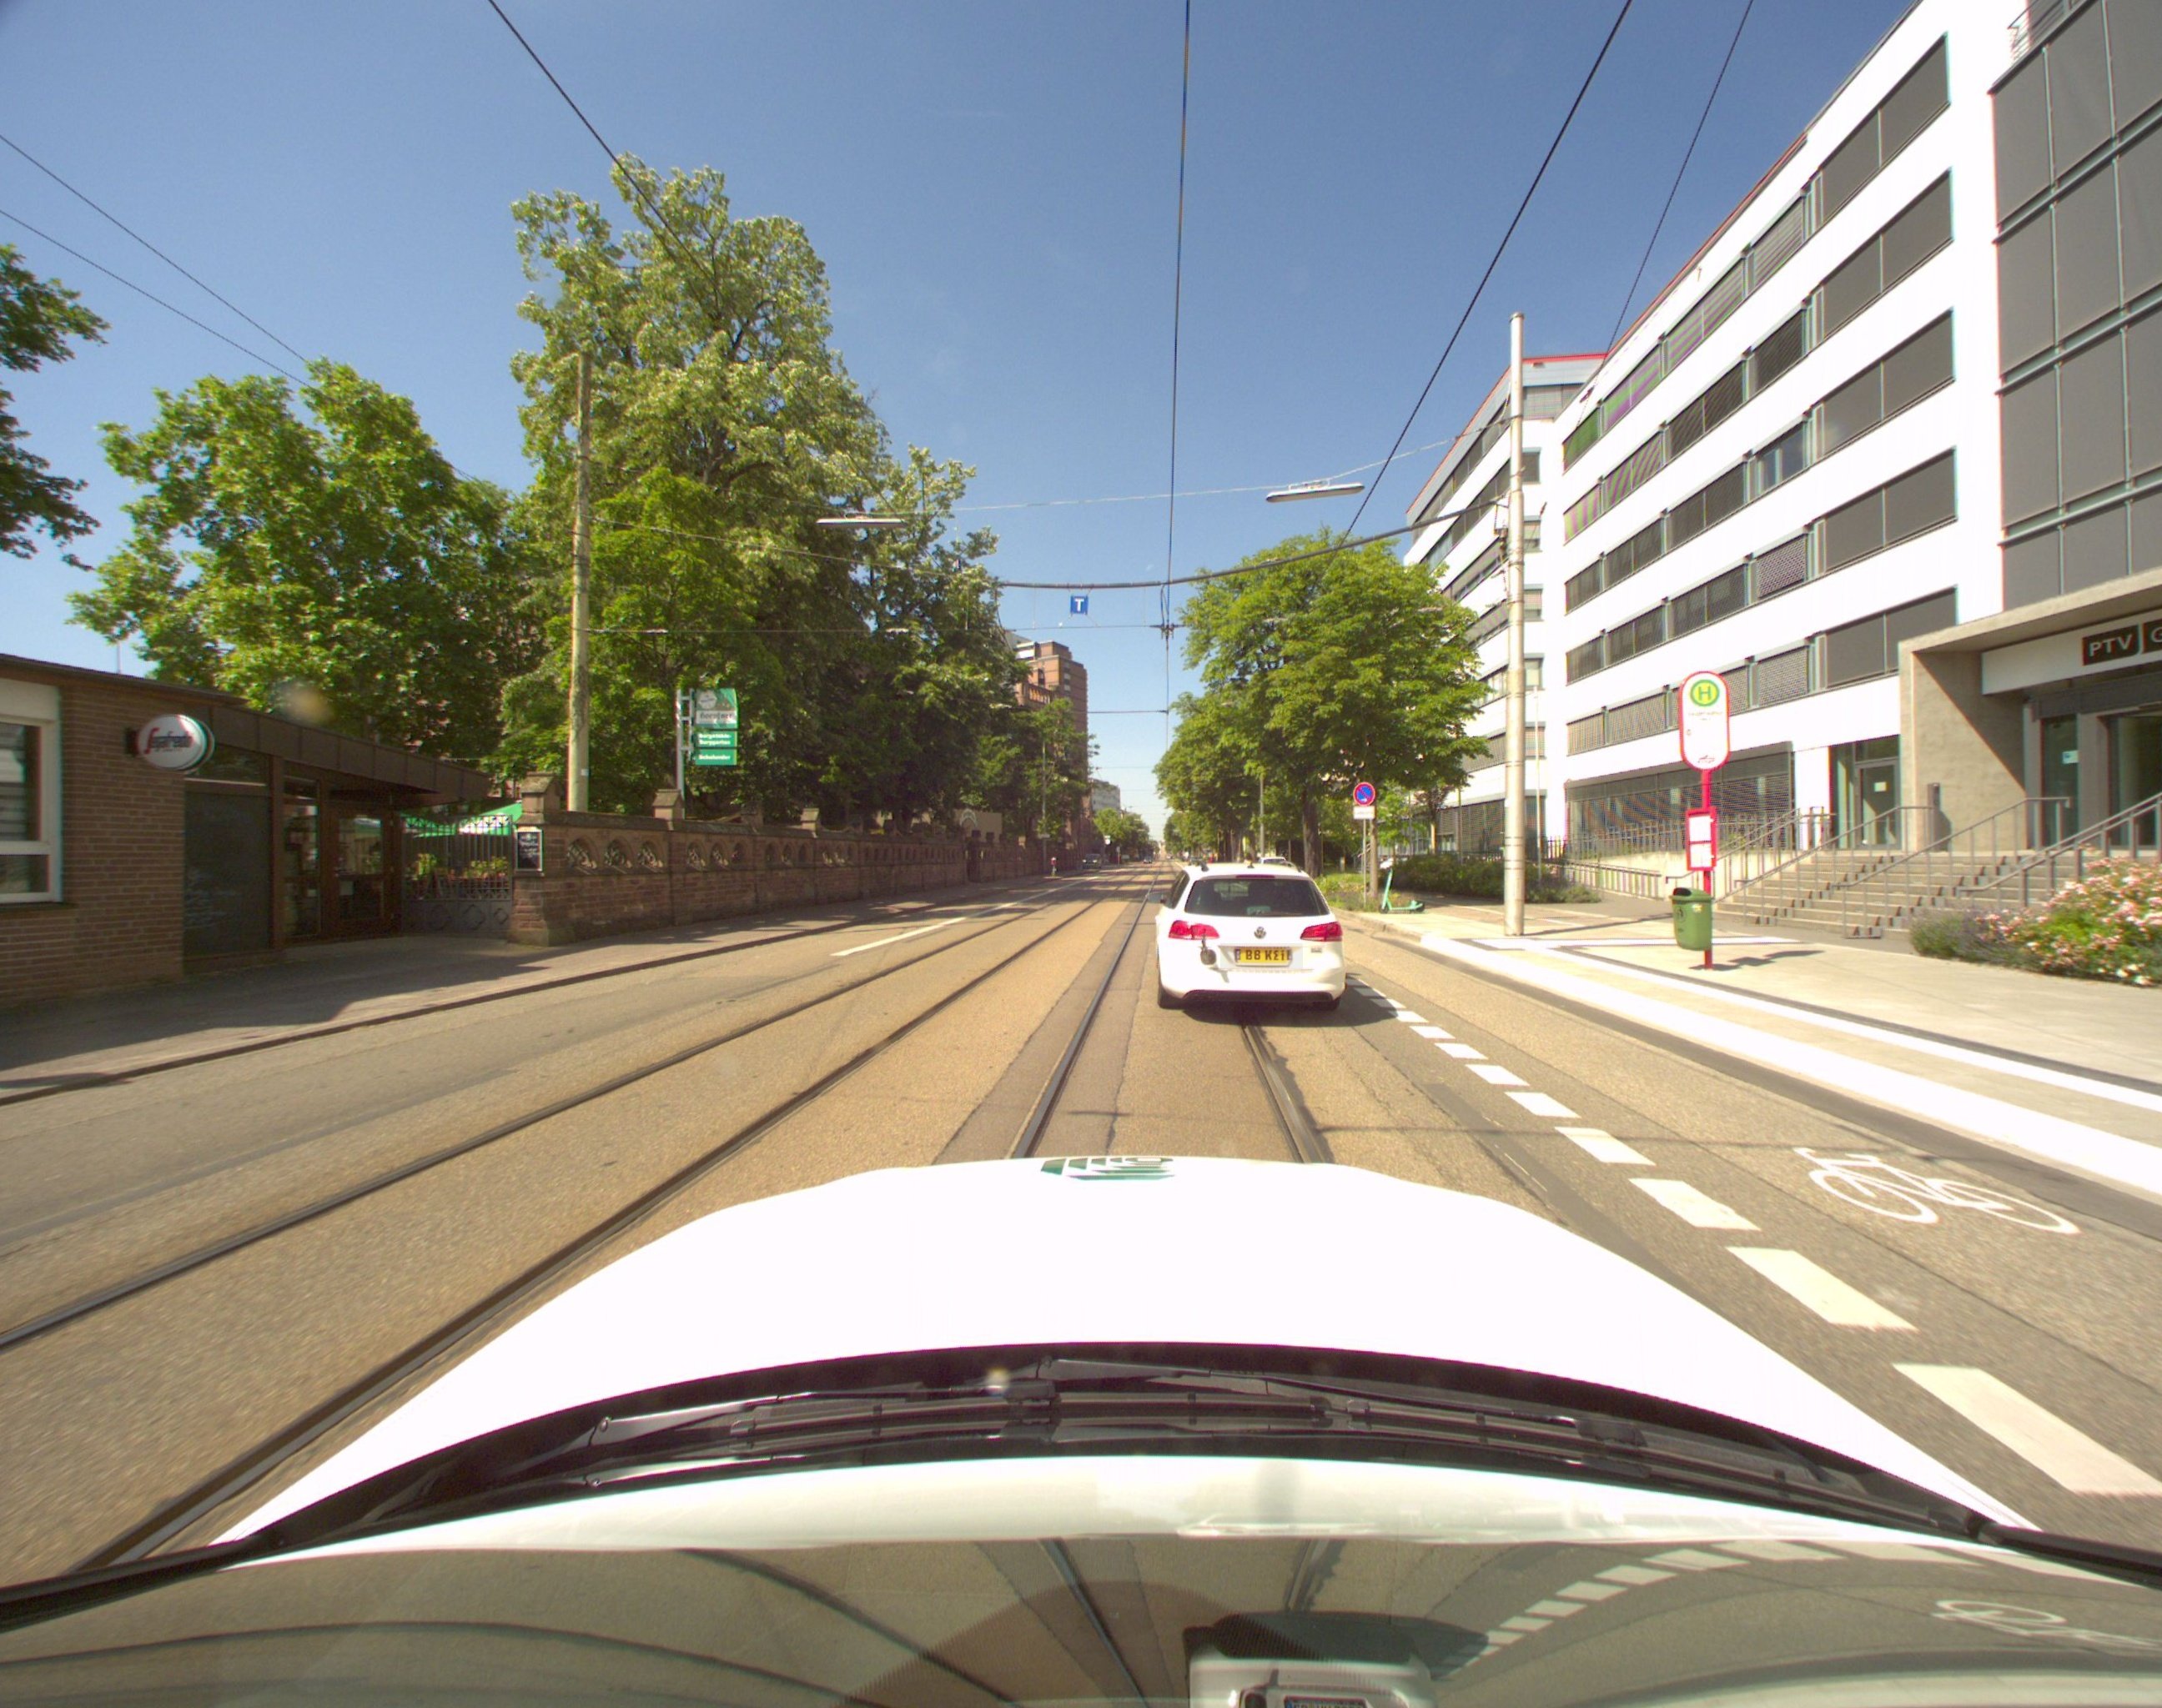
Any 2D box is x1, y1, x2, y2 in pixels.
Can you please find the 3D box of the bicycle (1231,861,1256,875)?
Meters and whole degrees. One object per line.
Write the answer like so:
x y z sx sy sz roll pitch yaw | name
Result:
12.431 1.084 62.262 1.781 1.010 0.488 -1 -1 1 | bicycle

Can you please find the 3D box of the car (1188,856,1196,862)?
25.848 1.236 189.818 1.704 1.401 3.850 -1 0 7 | car

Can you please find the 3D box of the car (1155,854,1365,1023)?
1.732 0.755 9.229 1.745 1.442 4.418 -1 -1 5 | car

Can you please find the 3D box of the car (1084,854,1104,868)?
1.734 0.938 105.657 1.982 1.757 4.723 -1 0 8 | car

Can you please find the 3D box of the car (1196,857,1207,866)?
18.798 1.210 127.092 1.704 1.401 3.850 -1 0 7 | car

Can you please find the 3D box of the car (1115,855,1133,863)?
10.511 1.205 197.704 4.012 1.816 1.981 -1 0 -30 | car

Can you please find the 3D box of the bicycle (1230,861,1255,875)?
12.462 1.081 62.846 1.781 1.010 0.488 -1 -1 1 | bicycle

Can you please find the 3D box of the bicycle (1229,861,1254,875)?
12.499 1.079 63.423 1.781 1.010 0.488 -1 -1 1 | bicycle

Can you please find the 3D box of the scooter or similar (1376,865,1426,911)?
8.215 0.863 20.950 1.135 1.154 0.495 0 0 12 | scooter or similar

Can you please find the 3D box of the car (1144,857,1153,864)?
13.364 1.284 161.291 1.485 1.384 3.649 -1 0 7 | car

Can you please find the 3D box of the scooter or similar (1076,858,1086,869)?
-0.023 1.075 89.501 0.400 1.155 1.150 -2 -1 40 | scooter or similar

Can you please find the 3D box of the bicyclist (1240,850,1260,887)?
7.525 0.626 36.384 0.782 1.629 0.739 -1 -1 6 | bicyclist

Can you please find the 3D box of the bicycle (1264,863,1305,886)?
10.147 1.000 40.682 1.877 1.083 0.551 1 0 3 | bicycle

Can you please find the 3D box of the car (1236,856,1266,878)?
11.769 0.872 56.560 1.655 1.444 4.642 -1 0 7 | car

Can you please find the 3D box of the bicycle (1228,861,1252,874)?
12.517 1.076 64.008 1.781 1.010 0.488 -1 -1 1 | bicycle

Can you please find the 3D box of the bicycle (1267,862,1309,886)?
10.019 0.975 39.432 1.903 1.083 0.551 2 0 3 | bicycle

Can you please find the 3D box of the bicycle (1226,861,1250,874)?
12.596 1.070 65.281 1.781 1.010 0.488 -1 -1 1 | bicycle

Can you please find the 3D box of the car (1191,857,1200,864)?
23.965 1.387 170.116 1.704 1.401 3.850 -1 0 7 | car

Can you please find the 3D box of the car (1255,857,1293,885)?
10.493 0.900 44.455 1.582 1.451 3.953 -1 0 7 | car

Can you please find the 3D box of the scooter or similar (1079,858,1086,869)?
0.165 1.102 93.056 0.419 1.200 1.149 -1 -1 21 | scooter or similar

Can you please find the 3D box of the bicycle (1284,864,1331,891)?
9.407 0.964 33.861 1.766 1.083 0.597 -1 0 3 | bicycle

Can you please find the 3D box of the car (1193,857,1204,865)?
20.940 1.276 145.378 1.705 1.401 3.849 -1 0 6 | car

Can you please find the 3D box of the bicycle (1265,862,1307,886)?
10.064 0.983 40.044 1.903 1.083 0.551 2 0 3 | bicycle

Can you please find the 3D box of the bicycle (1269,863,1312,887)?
9.996 0.979 38.831 1.903 1.083 0.551 1 0 3 | bicycle

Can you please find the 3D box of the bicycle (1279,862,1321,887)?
10.089 0.951 37.567 1.766 1.120 0.597 -1 0 3 | bicycle

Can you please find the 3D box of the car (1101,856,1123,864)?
6.248 1.236 164.465 4.125 1.530 1.922 1 0 -15 | car

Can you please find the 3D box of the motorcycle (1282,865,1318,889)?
9.667 1.015 36.001 1.459 1.046 0.535 -1 0 3 | motorcycle

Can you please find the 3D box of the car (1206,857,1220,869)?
17.128 1.147 105.526 1.704 1.401 3.851 -1 0 8 | car

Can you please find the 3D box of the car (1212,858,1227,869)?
16.260 1.131 95.642 1.703 1.280 3.854 -1 0 10 | car

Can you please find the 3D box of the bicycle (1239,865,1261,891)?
7.496 1.046 36.234 0.806 1.078 2.016 0 0 7 | bicycle
